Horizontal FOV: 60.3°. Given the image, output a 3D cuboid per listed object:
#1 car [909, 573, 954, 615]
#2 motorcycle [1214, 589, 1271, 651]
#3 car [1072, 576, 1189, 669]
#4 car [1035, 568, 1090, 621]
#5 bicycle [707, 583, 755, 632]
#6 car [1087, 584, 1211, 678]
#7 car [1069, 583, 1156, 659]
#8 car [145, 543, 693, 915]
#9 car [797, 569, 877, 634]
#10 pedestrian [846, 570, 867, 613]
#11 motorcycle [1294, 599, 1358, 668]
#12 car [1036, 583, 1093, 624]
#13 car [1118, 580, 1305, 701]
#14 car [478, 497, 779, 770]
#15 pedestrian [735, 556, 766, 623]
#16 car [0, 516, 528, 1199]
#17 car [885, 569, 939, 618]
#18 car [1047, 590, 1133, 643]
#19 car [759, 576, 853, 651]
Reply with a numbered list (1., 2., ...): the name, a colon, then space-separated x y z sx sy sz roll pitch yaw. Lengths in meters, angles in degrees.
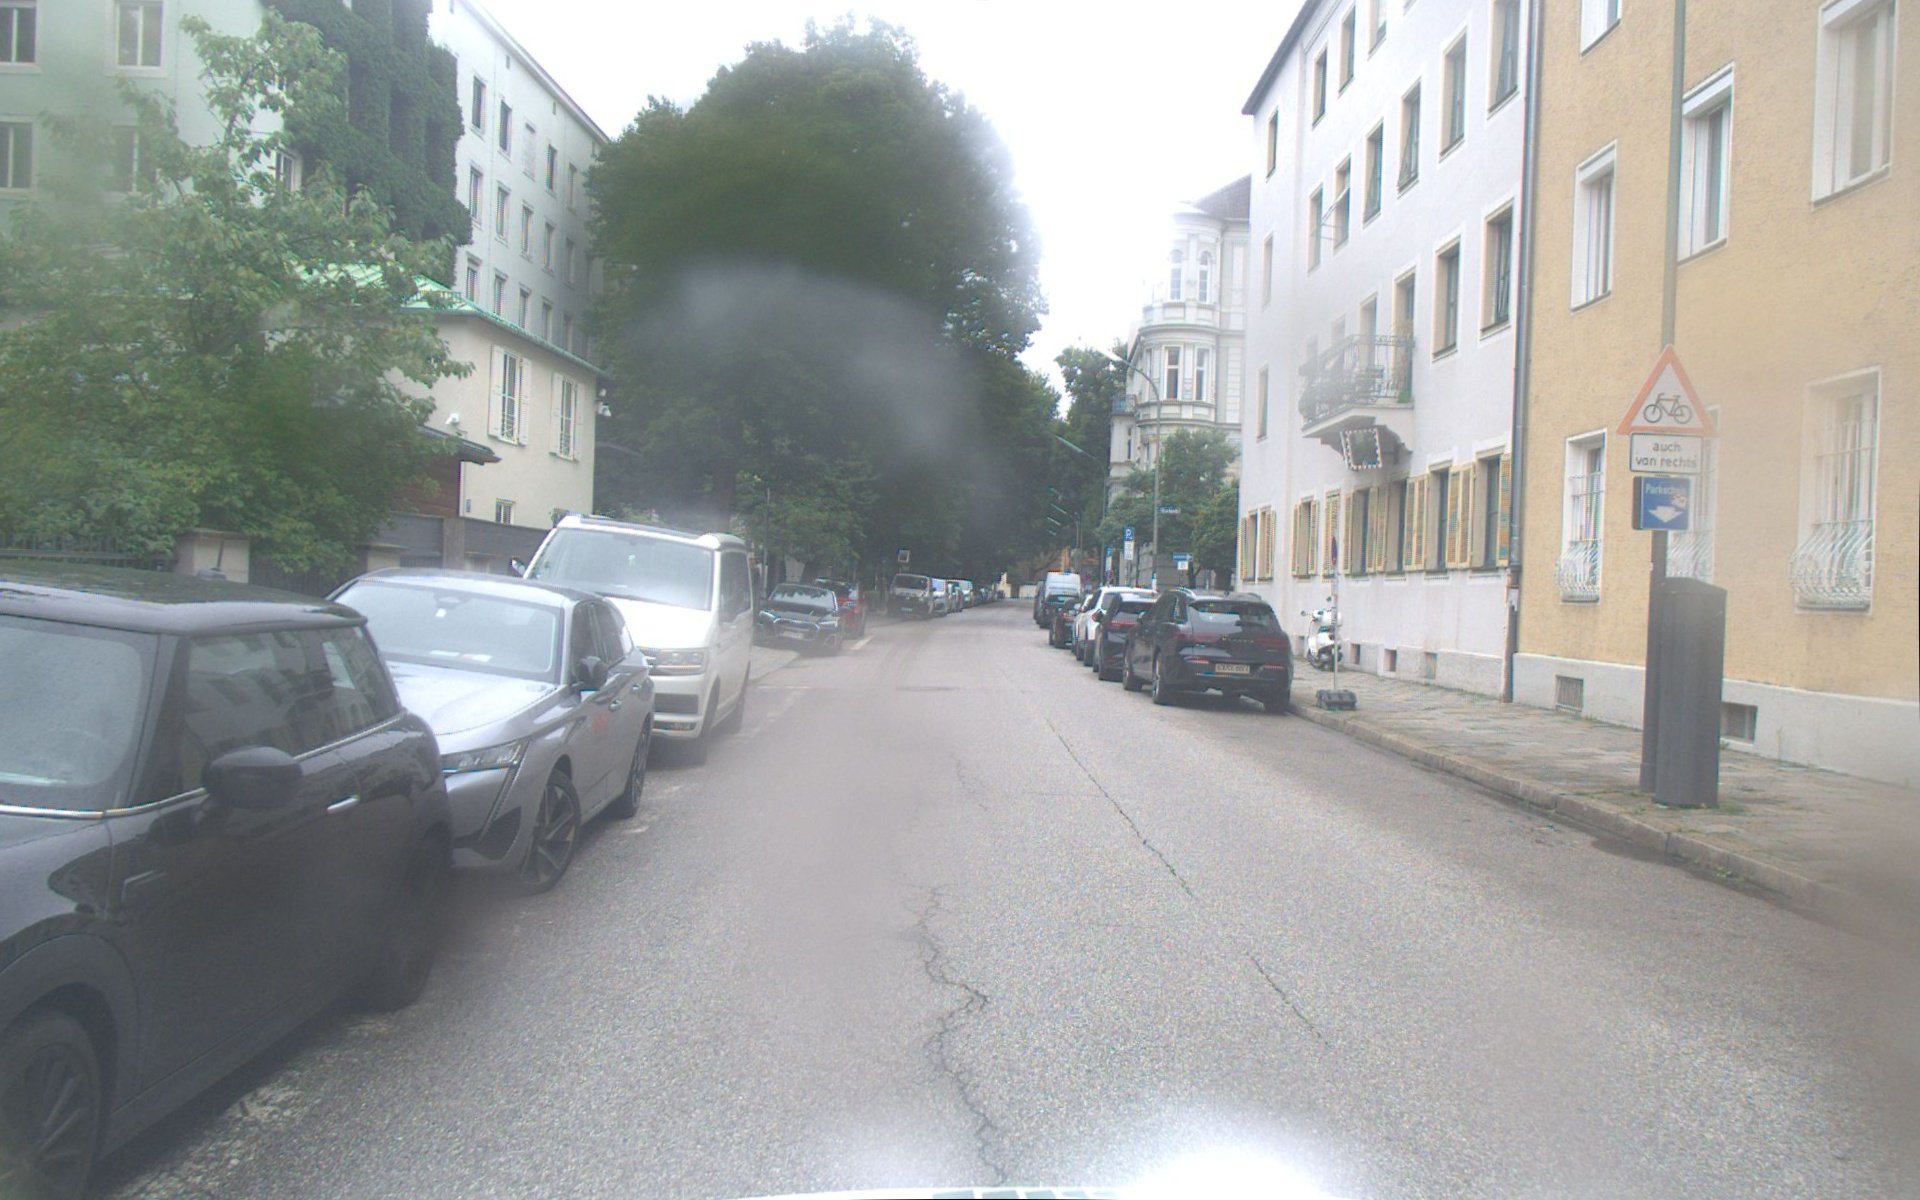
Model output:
1. car: -1.456 -0.322 85.925 2.139 1.990 5.166 3 0 -1
2. motorcycle: 7.045 0.472 41.323 0.840 1.458 2.706 2 0 -2
3. car: 3.587 0.422 35.547 1.953 1.736 4.534 4 0 0
4. car: 4.548 -0.244 74.134 2.158 2.247 4.855 1 0 1
5. bicycle: -5.523 0.170 39.960 0.635 1.150 2.049 2 0 6
6. car: 3.367 0.511 30.243 1.800 1.558 4.416 1 1 1
7. car: 3.659 0.474 40.170 1.735 1.572 3.712 6 0 2
8. car: -2.735 0.543 9.579 1.850 1.570 4.693 2 1 -4
9. car: -3.375 0.024 46.056 1.849 1.618 4.527 3 0 0
10. pedestrian: -4.001 -0.328 63.948 0.699 1.575 0.752 4 0 -4
11. motorcycle: 7.176 0.640 32.533 0.717 1.260 2.007 3 0 -1
12. car: 4.254 0.149 67.173 2.225 1.573 4.589 1 0 4
13. car: 3.633 0.521 24.807 1.823 1.604 4.897 1 1 -3
14. car: -2.880 0.243 15.549 1.927 2.025 5.149 3 0 -3
15. pedestrian: -5.998 -0.296 47.362 0.698 1.884 0.797 3 0 0
16. car: -2.646 0.619 4.490 1.820 1.571 4.188 0 0 0
17. car: -2.104 -0.319 74.215 2.202 1.990 5.453 3 0 -1
18. car: 3.476 0.423 45.046 1.959 1.342 4.595 0 0 0
19. car: -3.307 0.247 36.321 1.771 1.426 4.921 3 0 -3
